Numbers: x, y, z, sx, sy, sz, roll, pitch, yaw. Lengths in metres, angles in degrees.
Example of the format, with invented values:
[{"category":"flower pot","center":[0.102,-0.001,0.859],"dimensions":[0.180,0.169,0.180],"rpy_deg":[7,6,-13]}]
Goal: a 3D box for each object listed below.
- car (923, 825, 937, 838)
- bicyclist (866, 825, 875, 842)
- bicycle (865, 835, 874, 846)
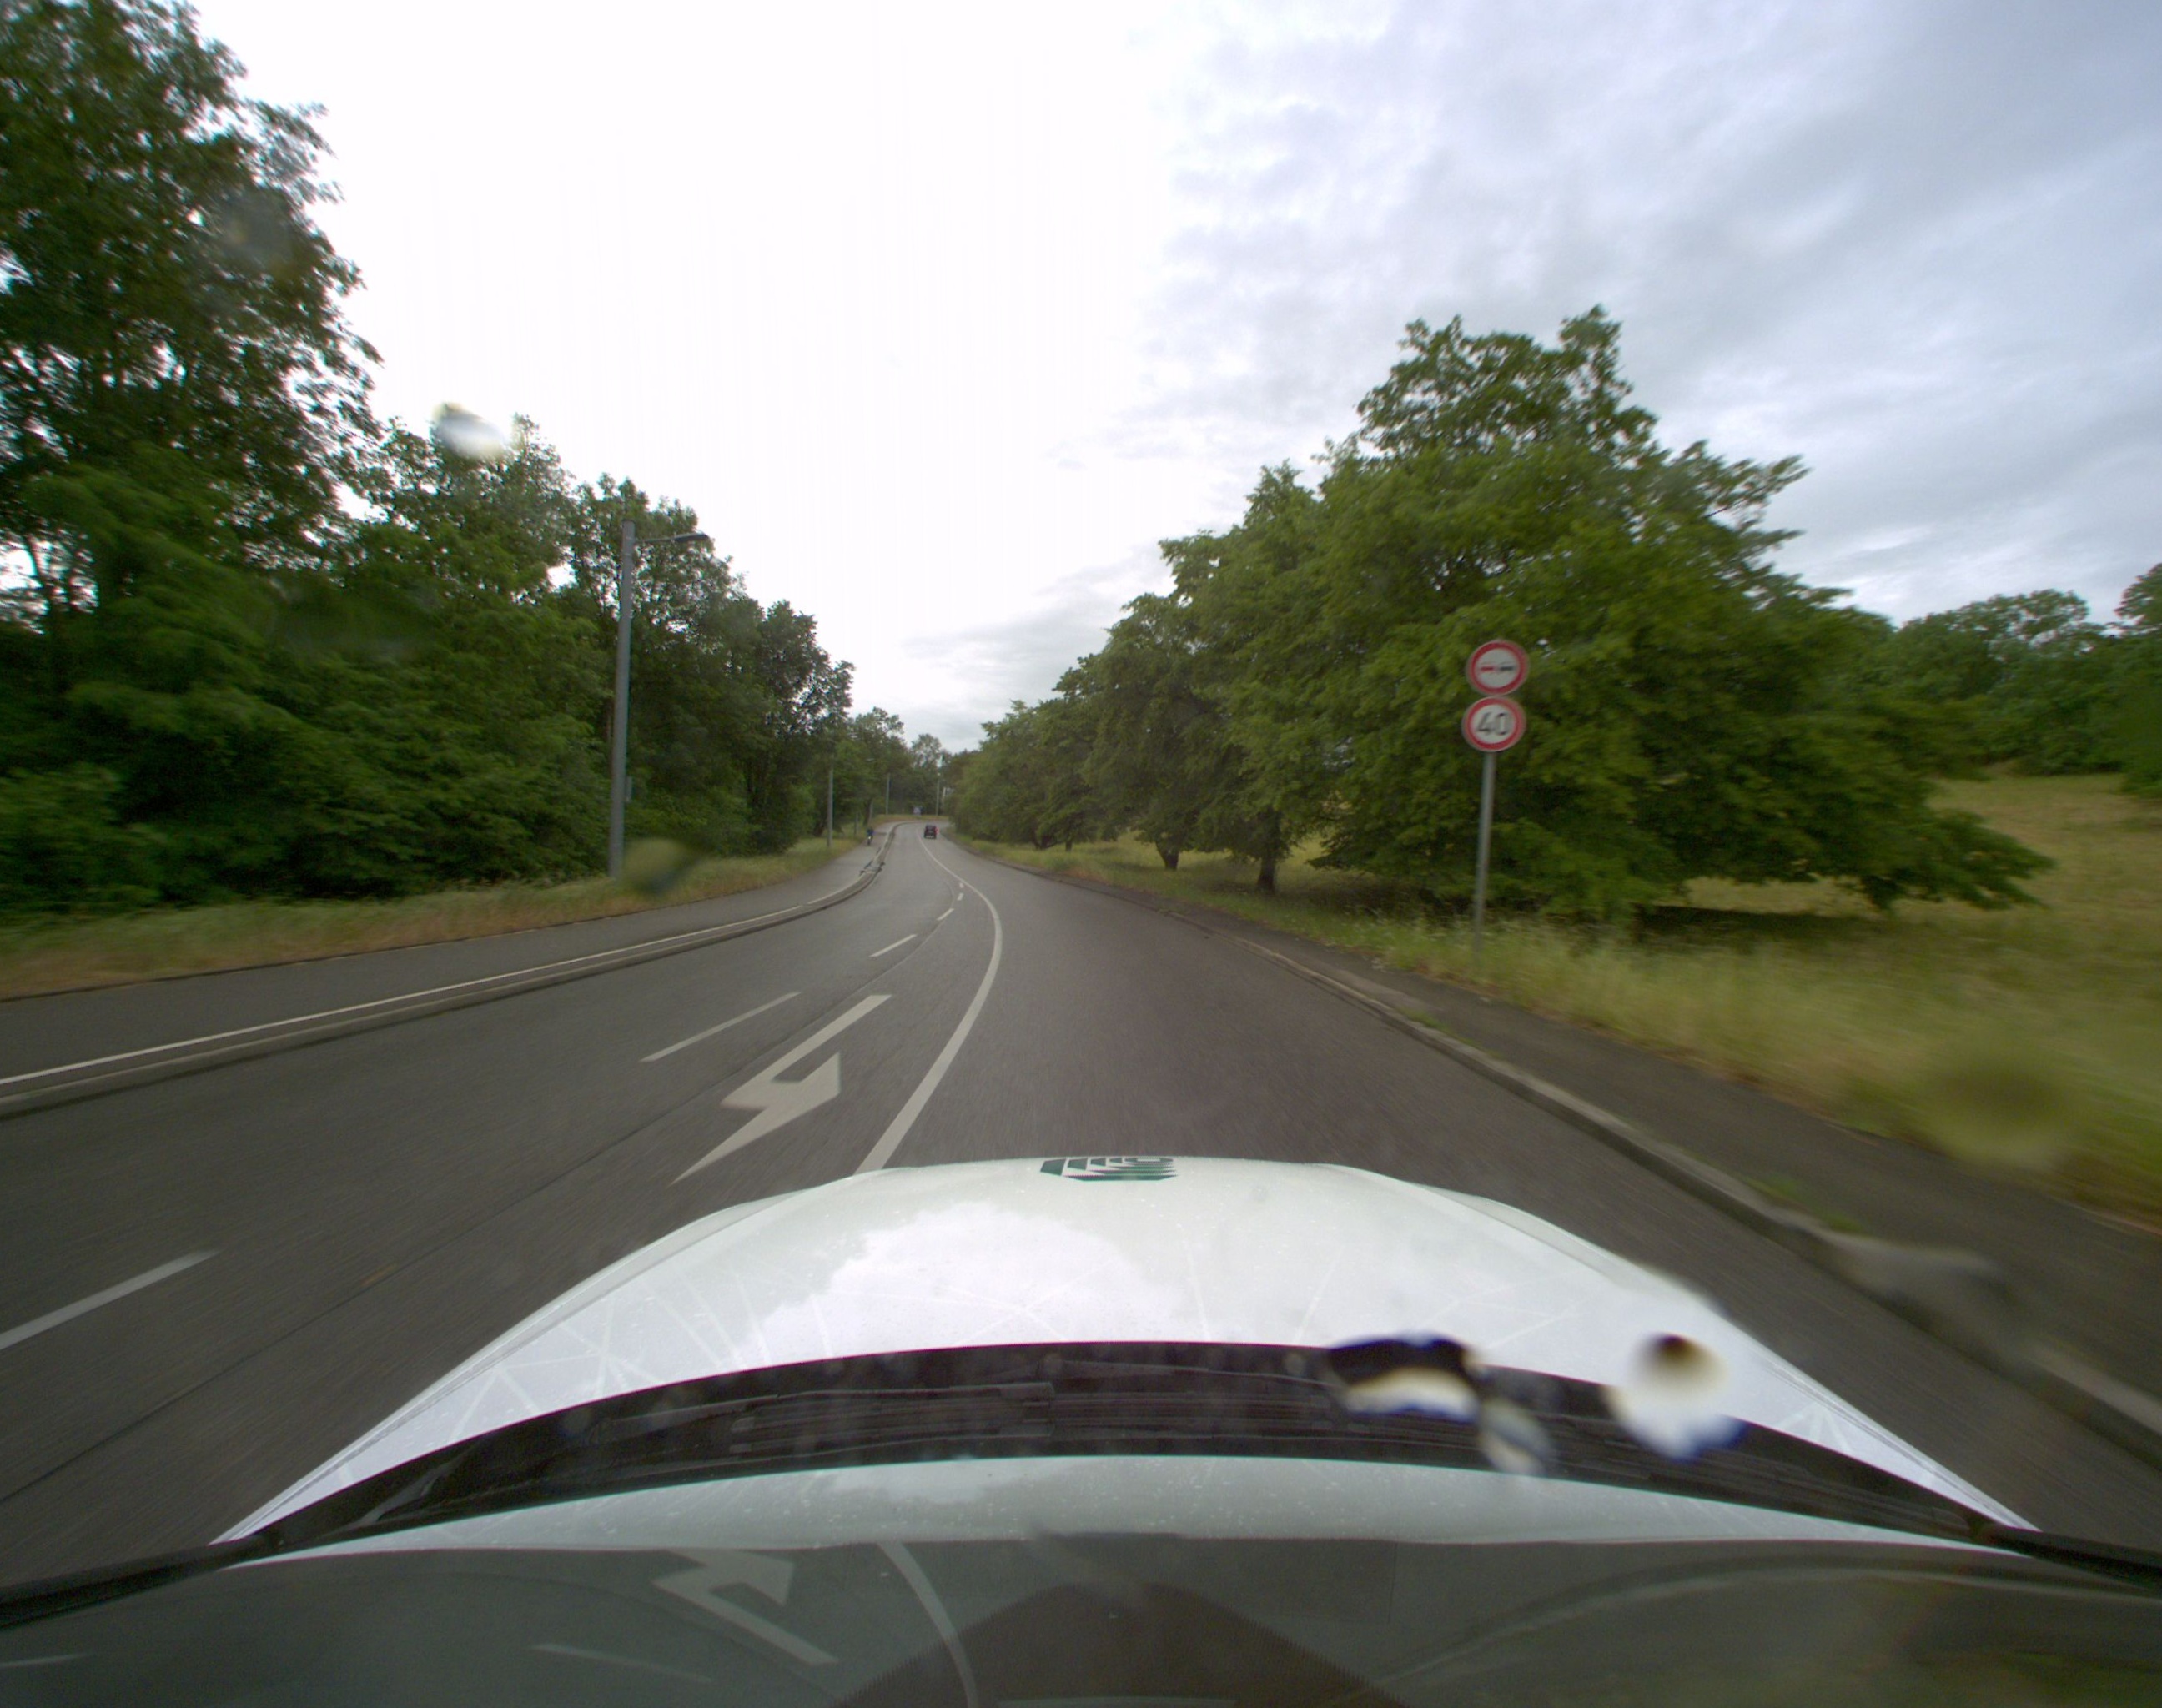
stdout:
[{"category":"car","center":[-21.010,-3.170,112.880],"dimensions":[1.743,1.716,3.985],"rpy_deg":[3,1,-12]},{"category":"bicyclist","center":[-20.087,-1.918,77.648],"dimensions":[0.709,1.555,1.166],"rpy_deg":[4,1,-13]},{"category":"bicycle","center":[-20.101,-1.309,77.520],"dimensions":[0.725,0.941,2.539],"rpy_deg":[4,1,-13]}]
